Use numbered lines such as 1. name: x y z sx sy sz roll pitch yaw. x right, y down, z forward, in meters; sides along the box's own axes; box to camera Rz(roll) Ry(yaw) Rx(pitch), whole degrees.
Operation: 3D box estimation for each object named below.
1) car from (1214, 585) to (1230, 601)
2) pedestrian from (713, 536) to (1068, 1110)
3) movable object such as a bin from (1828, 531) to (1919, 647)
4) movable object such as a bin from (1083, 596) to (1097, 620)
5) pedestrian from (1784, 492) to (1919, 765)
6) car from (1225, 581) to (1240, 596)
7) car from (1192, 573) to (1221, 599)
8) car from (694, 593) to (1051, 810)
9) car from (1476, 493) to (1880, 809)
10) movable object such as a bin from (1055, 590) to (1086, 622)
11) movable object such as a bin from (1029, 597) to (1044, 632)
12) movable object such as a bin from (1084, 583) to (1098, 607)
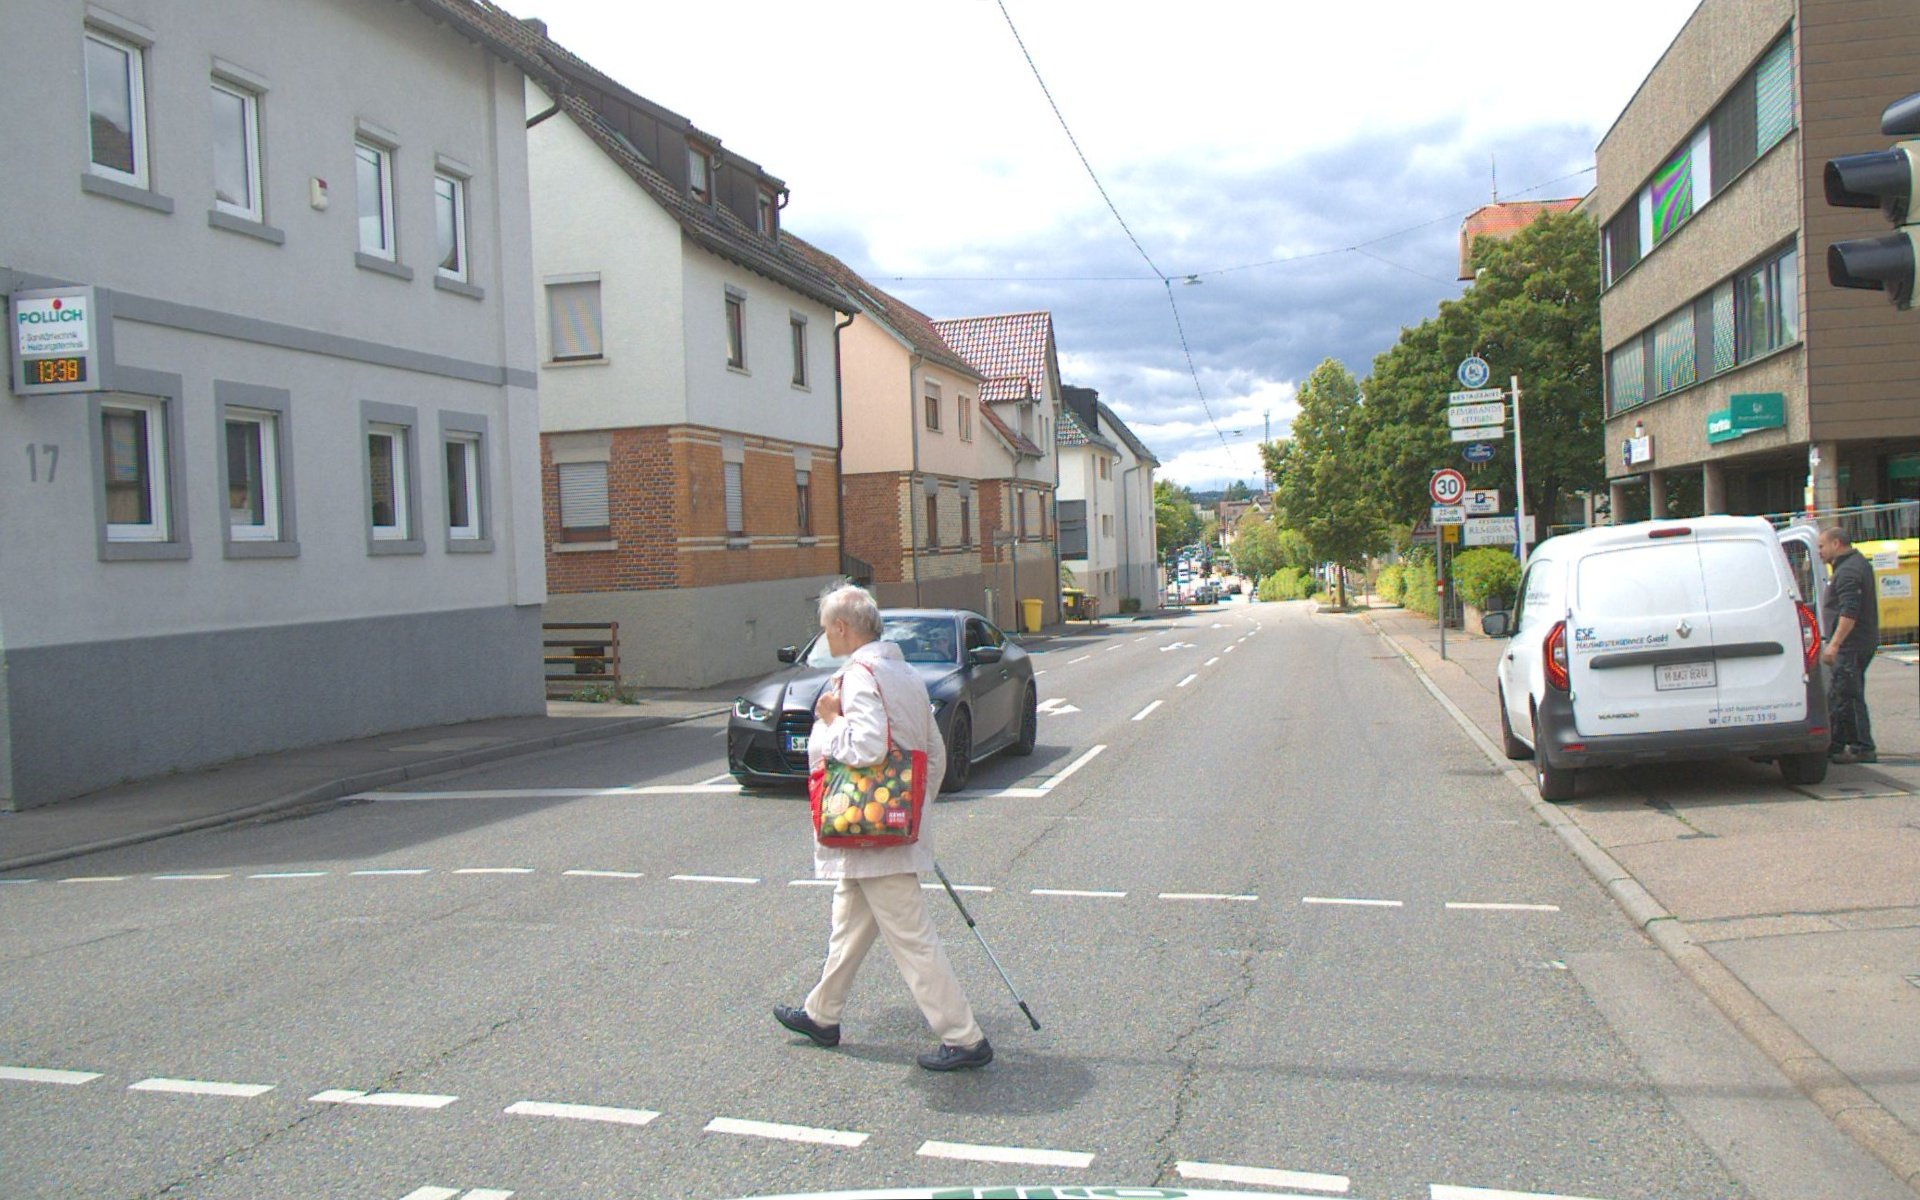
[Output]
1. car: 35.327 -0.924 223.231 1.951 2.049 4.003 -3 -1 8
2. pedestrian: -0.202 0.642 5.350 0.853 1.666 0.836 0 1 24
3. movable object such as a bin: 13.007 -0.171 22.961 1.451 1.518 1.077 -3 2 16
4. movable object such as a bin: 5.752 0.362 73.187 0.520 1.048 0.455 -2 0 11
5. pedestrian: 6.417 0.190 11.675 0.825 1.834 0.651 -4 0 12
6. car: 39.254 -1.624 238.408 1.951 2.049 4.003 -3 -1 8
7. car: 20.400 -1.192 137.144 1.952 2.049 4.002 -2 0 3
8. car: -0.551 0.763 14.633 1.951 1.482 4.622 -3 0 12
9. car: 5.159 0.319 12.563 1.871 1.825 4.494 -5 -1 13
10. movable object such as a bin: 4.812 0.275 72.211 1.254 1.332 0.817 -2 0 7
11. movable object such as a bin: 2.594 0.486 56.196 0.422 1.147 0.299 -3 0 11
12. movable object such as a bin: 5.834 -0.239 73.530 0.520 1.048 0.455 -2 0 11
